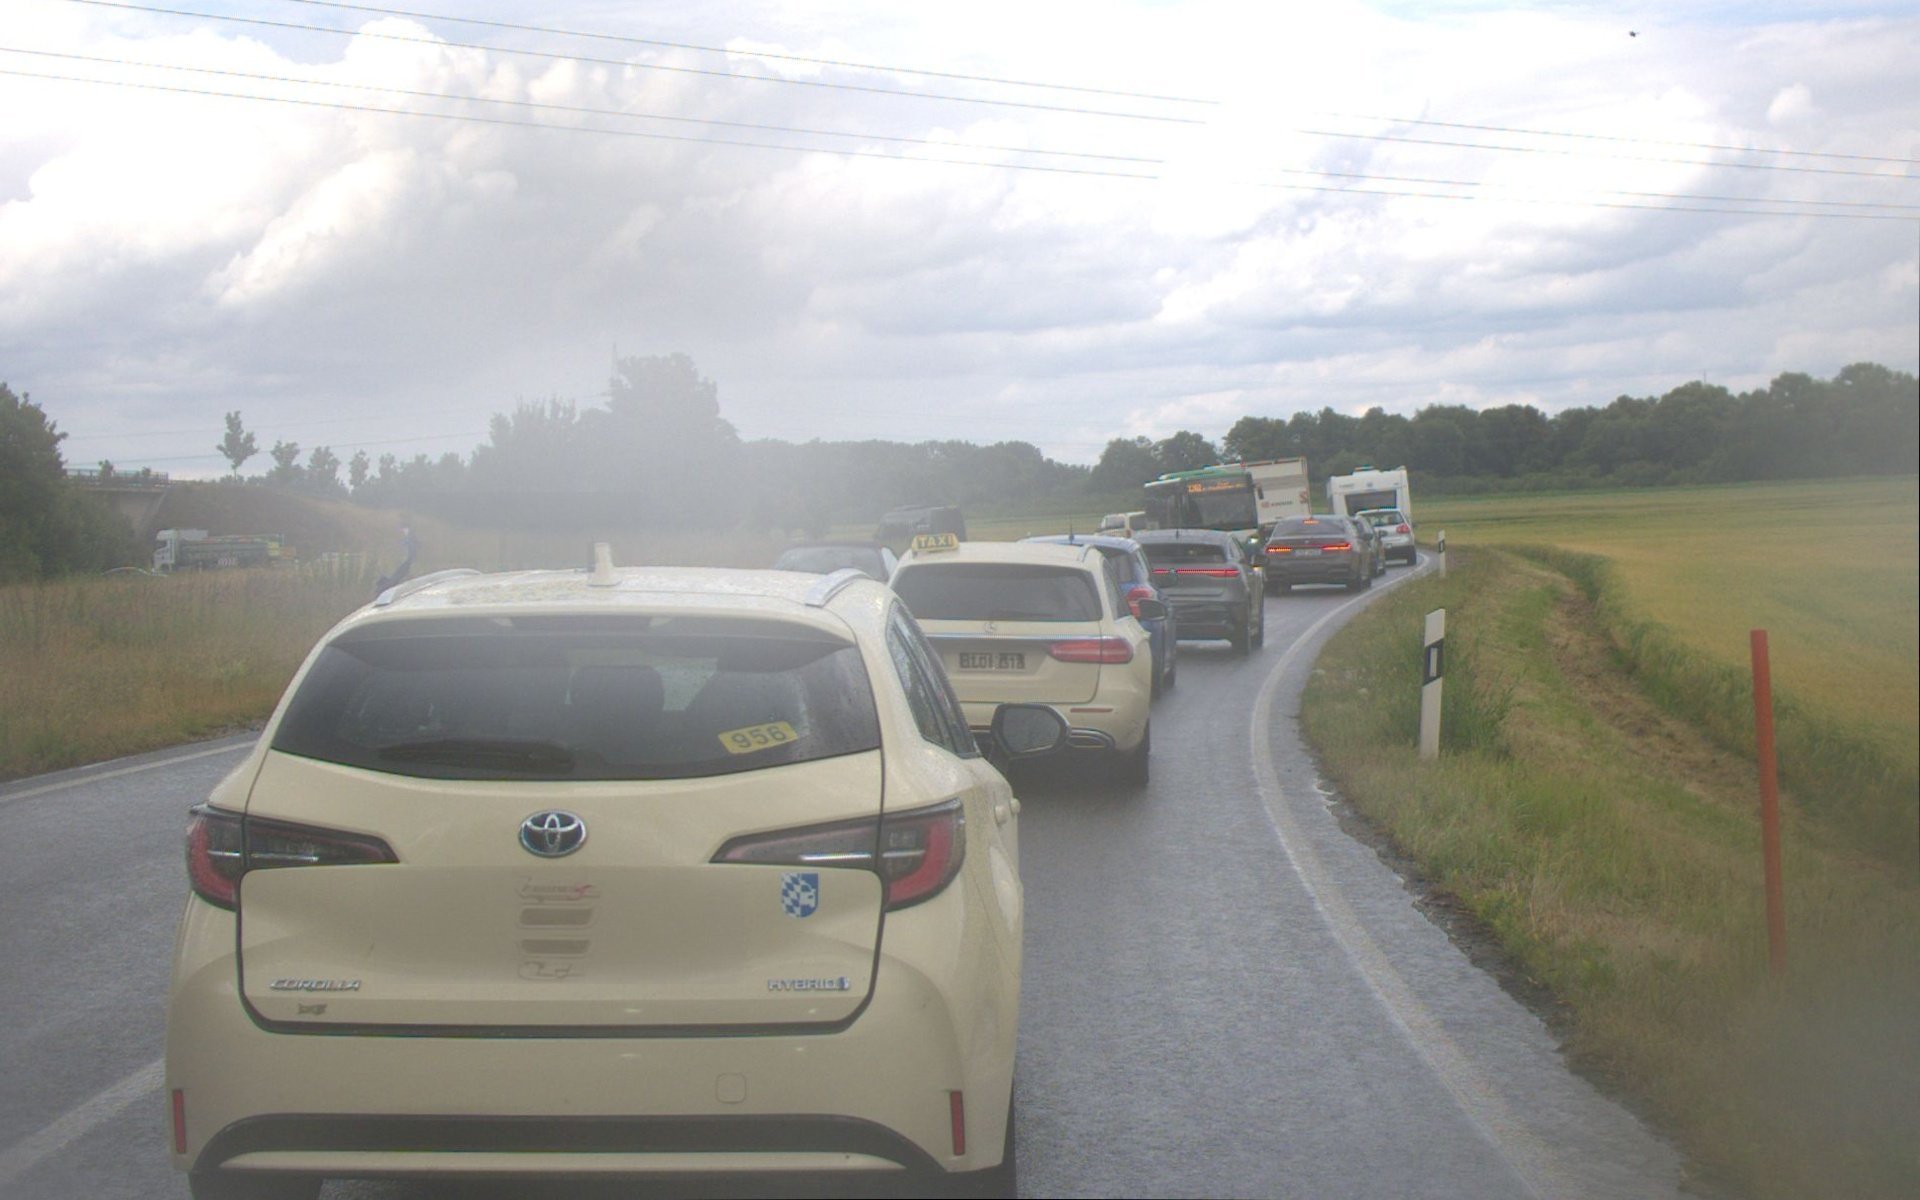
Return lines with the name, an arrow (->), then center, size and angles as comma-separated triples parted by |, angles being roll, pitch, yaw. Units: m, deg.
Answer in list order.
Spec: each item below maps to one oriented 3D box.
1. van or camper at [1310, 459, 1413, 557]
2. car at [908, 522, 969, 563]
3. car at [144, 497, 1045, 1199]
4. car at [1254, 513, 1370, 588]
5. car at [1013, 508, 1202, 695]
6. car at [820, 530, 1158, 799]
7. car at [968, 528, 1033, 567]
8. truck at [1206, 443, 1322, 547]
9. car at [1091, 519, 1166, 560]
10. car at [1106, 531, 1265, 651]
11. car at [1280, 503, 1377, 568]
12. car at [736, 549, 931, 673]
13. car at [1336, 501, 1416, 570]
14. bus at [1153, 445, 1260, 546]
van or camper -> 12.241, -2.800, 105.165 | 2.537, 2.886, 6.743 | 0, 1, 2
car -> -1.099, -2.852, 172.536 | 1.993, 2.007, 4.001 | 0, 0, -17
car -> -0.637, 0.583, 8.246 | 1.613, 1.557, 3.738 | 0, 0, 2
car -> 6.926, -0.944, 67.293 | 1.960, 1.408, 4.390 | 0, 0, 10
car -> 1.449, 0.004, 32.591 | 1.613, 1.653, 3.738 | 0, 0, 5
car -> 0.293, 0.316, 21.733 | 1.841, 1.487, 4.608 | 0, 1, 4
car -> 2.007, -2.596, 170.731 | 1.840, 1.852, 4.090 | 0, 0, -21
truck -> 11.689, -3.999, 132.835 | 3.126, 3.839, 7.387 | 0, 0, -6
car -> 7.446, -2.681, 152.423 | 1.882, 1.767, 4.161 | 0, 0, -19
car -> 2.816, -0.115, 42.354 | 1.613, 1.408, 3.737 | 0, 0, 9
car -> 8.428, -1.456, 78.432 | 1.826, 1.408, 3.736 | 0, 0, 12
car -> -1.451, 0.118, 41.058 | 1.630, 1.392, 4.318 | 0, 0, 7
car -> 10.833, -1.661, 89.390 | 1.960, 1.723, 3.737 | 0, 0, 8
bus -> 8.408, -3.565, 118.581 | 2.758, 3.286, 12.503 | 0, 1, 0
